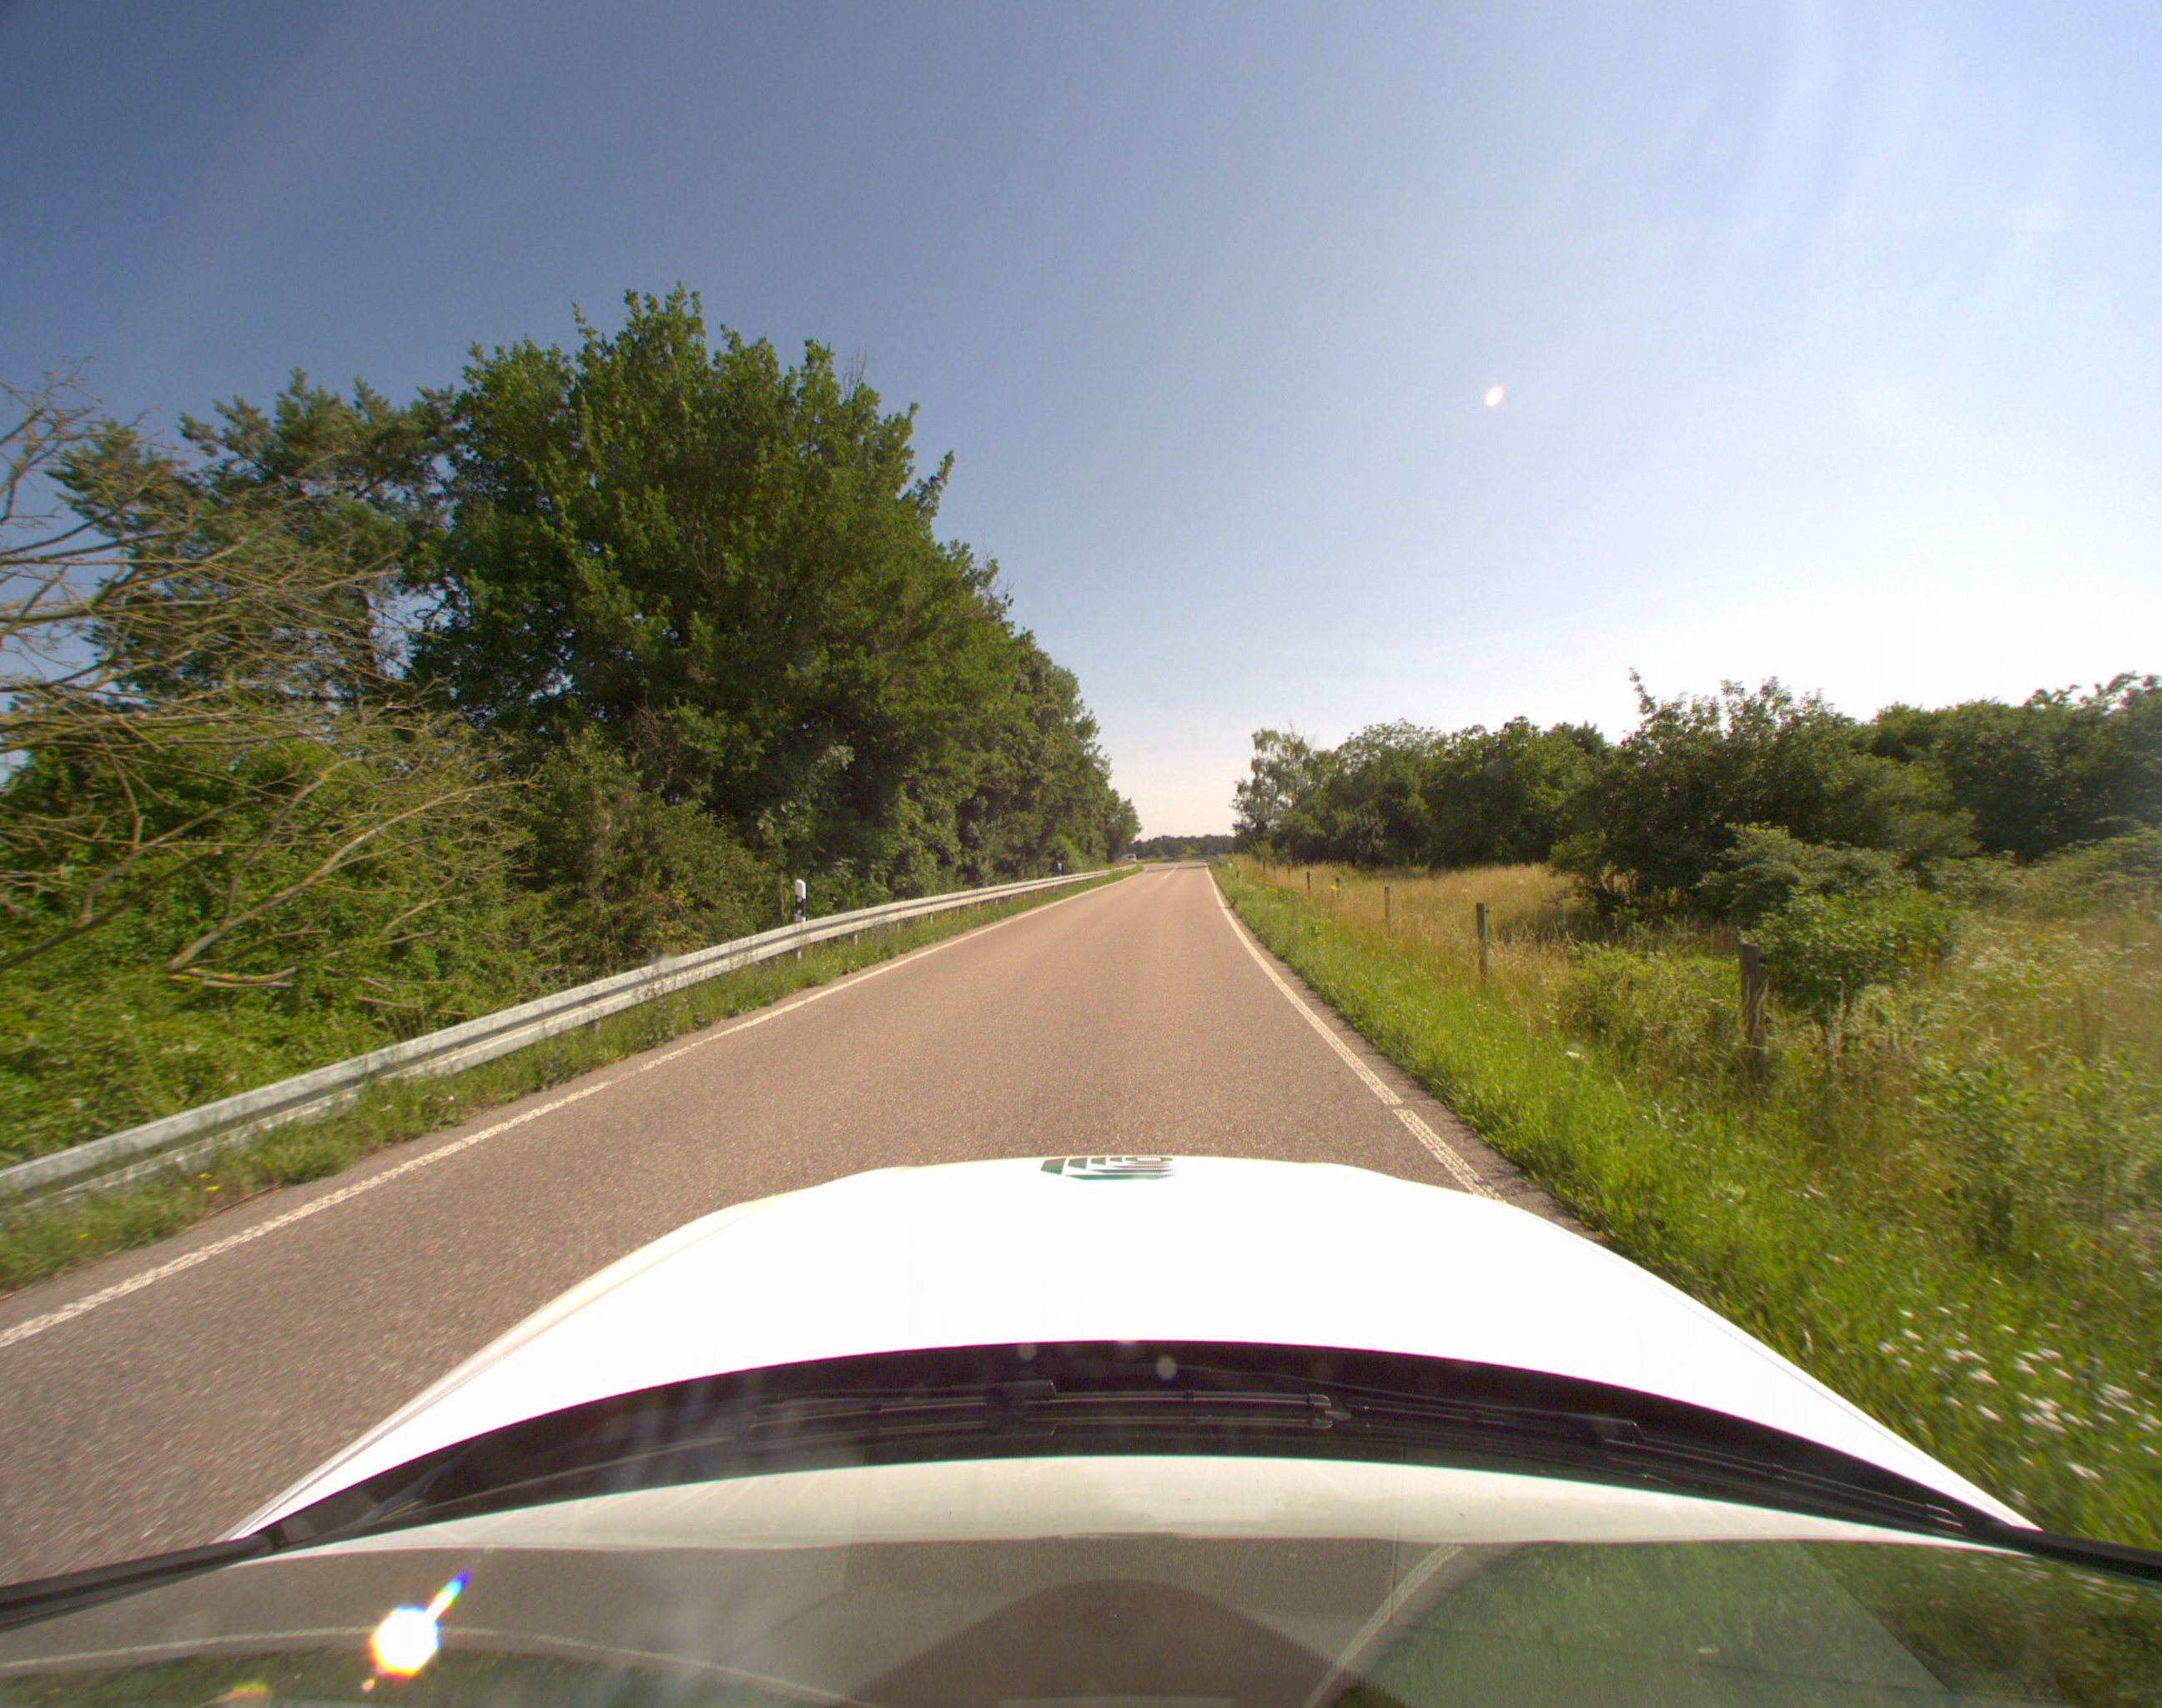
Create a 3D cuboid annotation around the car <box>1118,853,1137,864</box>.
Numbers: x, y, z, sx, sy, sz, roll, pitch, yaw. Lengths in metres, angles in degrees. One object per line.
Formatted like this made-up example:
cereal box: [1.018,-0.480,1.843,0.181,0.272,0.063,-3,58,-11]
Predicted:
car: [8.356,0.824,146.524,1.968,1.803,4.134,0,-2,-18]
